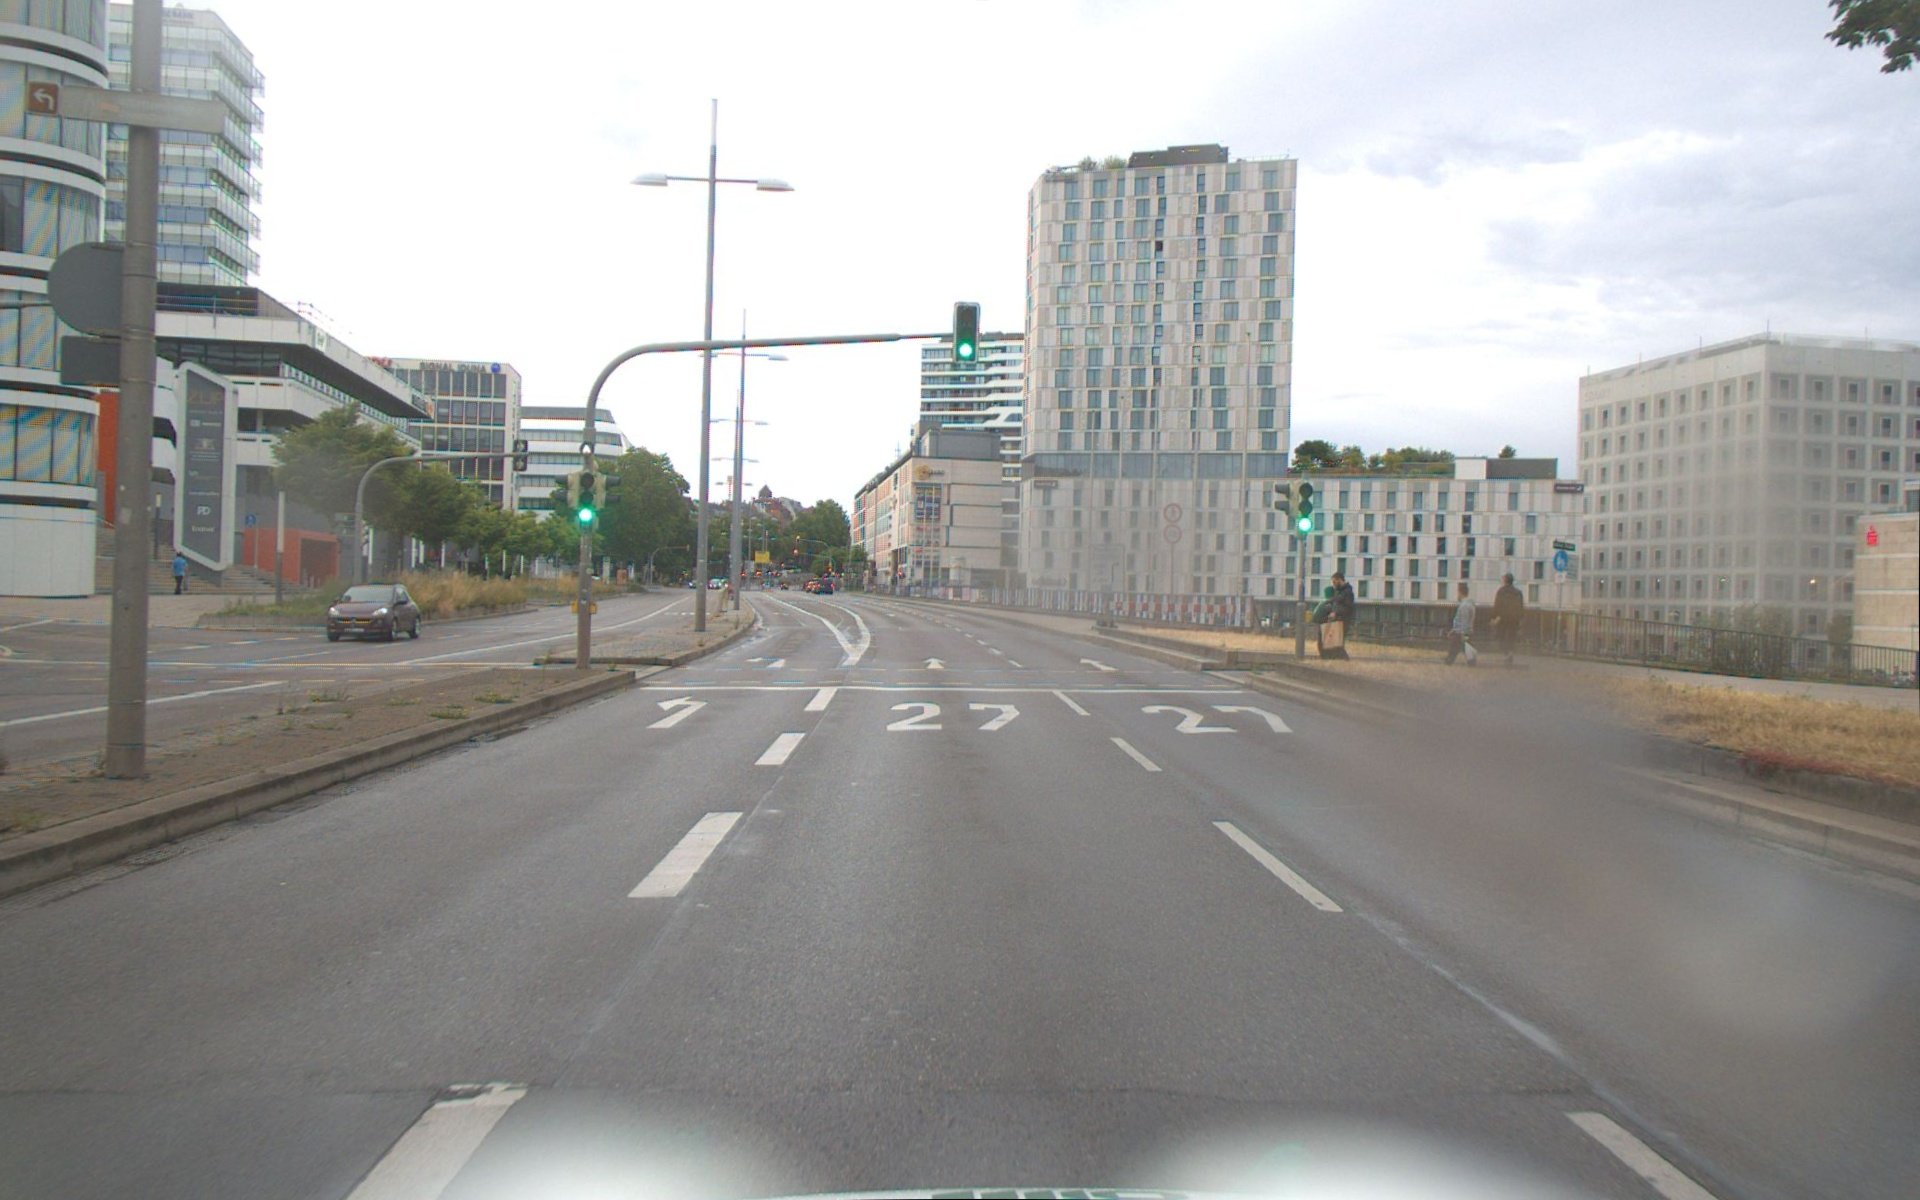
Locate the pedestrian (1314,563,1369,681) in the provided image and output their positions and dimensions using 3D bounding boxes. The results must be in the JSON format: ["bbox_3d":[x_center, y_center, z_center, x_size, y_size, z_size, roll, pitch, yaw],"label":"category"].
[{"bbox_3d":[6.195,0.337,26.875,0.542,1.873,0.777,1,2,45],"label":"pedestrian"}]

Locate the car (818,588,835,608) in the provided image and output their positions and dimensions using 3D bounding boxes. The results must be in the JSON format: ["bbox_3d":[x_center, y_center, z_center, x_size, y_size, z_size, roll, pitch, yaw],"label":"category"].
[{"bbox_3d":[-16.423,-0.260,203.777,1.953,2.384,3.998,1,0,-2],"label":"car"}]

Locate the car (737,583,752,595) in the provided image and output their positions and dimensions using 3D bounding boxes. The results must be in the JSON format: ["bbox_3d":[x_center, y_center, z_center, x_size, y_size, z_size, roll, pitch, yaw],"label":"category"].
[{"bbox_3d":[-33.787,-1.751,259.157,1.953,1.813,3.999,0,2,-2],"label":"car"}]

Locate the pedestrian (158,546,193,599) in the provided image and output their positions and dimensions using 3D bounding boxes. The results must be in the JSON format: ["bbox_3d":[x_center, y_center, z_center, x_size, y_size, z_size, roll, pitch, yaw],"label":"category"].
[{"bbox_3d":[-30.374,-1.064,64.040,1.009,2.048,0.715,0,2,-3],"label":"pedestrian"}]

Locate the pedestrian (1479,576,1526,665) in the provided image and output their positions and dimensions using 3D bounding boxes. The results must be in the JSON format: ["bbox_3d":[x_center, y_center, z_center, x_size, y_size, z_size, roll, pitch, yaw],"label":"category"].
[{"bbox_3d":[10.036,0.366,30.586,0.657,1.605,0.666,1,2,36],"label":"pedestrian"}]

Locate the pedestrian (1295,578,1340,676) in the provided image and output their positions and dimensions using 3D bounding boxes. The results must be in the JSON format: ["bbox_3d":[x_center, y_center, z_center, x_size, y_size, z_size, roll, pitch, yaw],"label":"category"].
[{"bbox_3d":[6.004,0.434,27.793,0.540,1.605,0.669,1,2,33],"label":"pedestrian"}]

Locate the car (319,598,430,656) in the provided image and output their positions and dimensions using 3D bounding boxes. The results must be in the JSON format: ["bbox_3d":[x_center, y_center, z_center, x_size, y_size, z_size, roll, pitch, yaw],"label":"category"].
[{"bbox_3d":[-15.427,0.689,43.735,1.713,1.432,3.723,1,0,-2],"label":"car"}]

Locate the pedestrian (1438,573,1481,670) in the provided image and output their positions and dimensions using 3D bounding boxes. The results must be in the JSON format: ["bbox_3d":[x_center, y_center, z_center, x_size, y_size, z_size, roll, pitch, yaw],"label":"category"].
[{"bbox_3d":[8.461,0.354,28.006,0.540,1.605,0.669,1,2,33],"label":"pedestrian"}]

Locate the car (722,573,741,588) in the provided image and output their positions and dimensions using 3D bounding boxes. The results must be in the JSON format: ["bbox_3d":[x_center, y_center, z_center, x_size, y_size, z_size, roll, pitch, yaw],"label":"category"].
[{"bbox_3d":[-31.197,-2.668,225.995,1.952,1.847,4.002,0,2,1],"label":"car"}]

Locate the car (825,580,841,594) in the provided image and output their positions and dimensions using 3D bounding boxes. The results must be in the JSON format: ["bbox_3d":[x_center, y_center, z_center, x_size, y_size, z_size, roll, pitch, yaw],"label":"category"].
[{"bbox_3d":[-17.854,-1.803,232.566,1.952,1.847,4.002,0,2,1],"label":"car"}]
